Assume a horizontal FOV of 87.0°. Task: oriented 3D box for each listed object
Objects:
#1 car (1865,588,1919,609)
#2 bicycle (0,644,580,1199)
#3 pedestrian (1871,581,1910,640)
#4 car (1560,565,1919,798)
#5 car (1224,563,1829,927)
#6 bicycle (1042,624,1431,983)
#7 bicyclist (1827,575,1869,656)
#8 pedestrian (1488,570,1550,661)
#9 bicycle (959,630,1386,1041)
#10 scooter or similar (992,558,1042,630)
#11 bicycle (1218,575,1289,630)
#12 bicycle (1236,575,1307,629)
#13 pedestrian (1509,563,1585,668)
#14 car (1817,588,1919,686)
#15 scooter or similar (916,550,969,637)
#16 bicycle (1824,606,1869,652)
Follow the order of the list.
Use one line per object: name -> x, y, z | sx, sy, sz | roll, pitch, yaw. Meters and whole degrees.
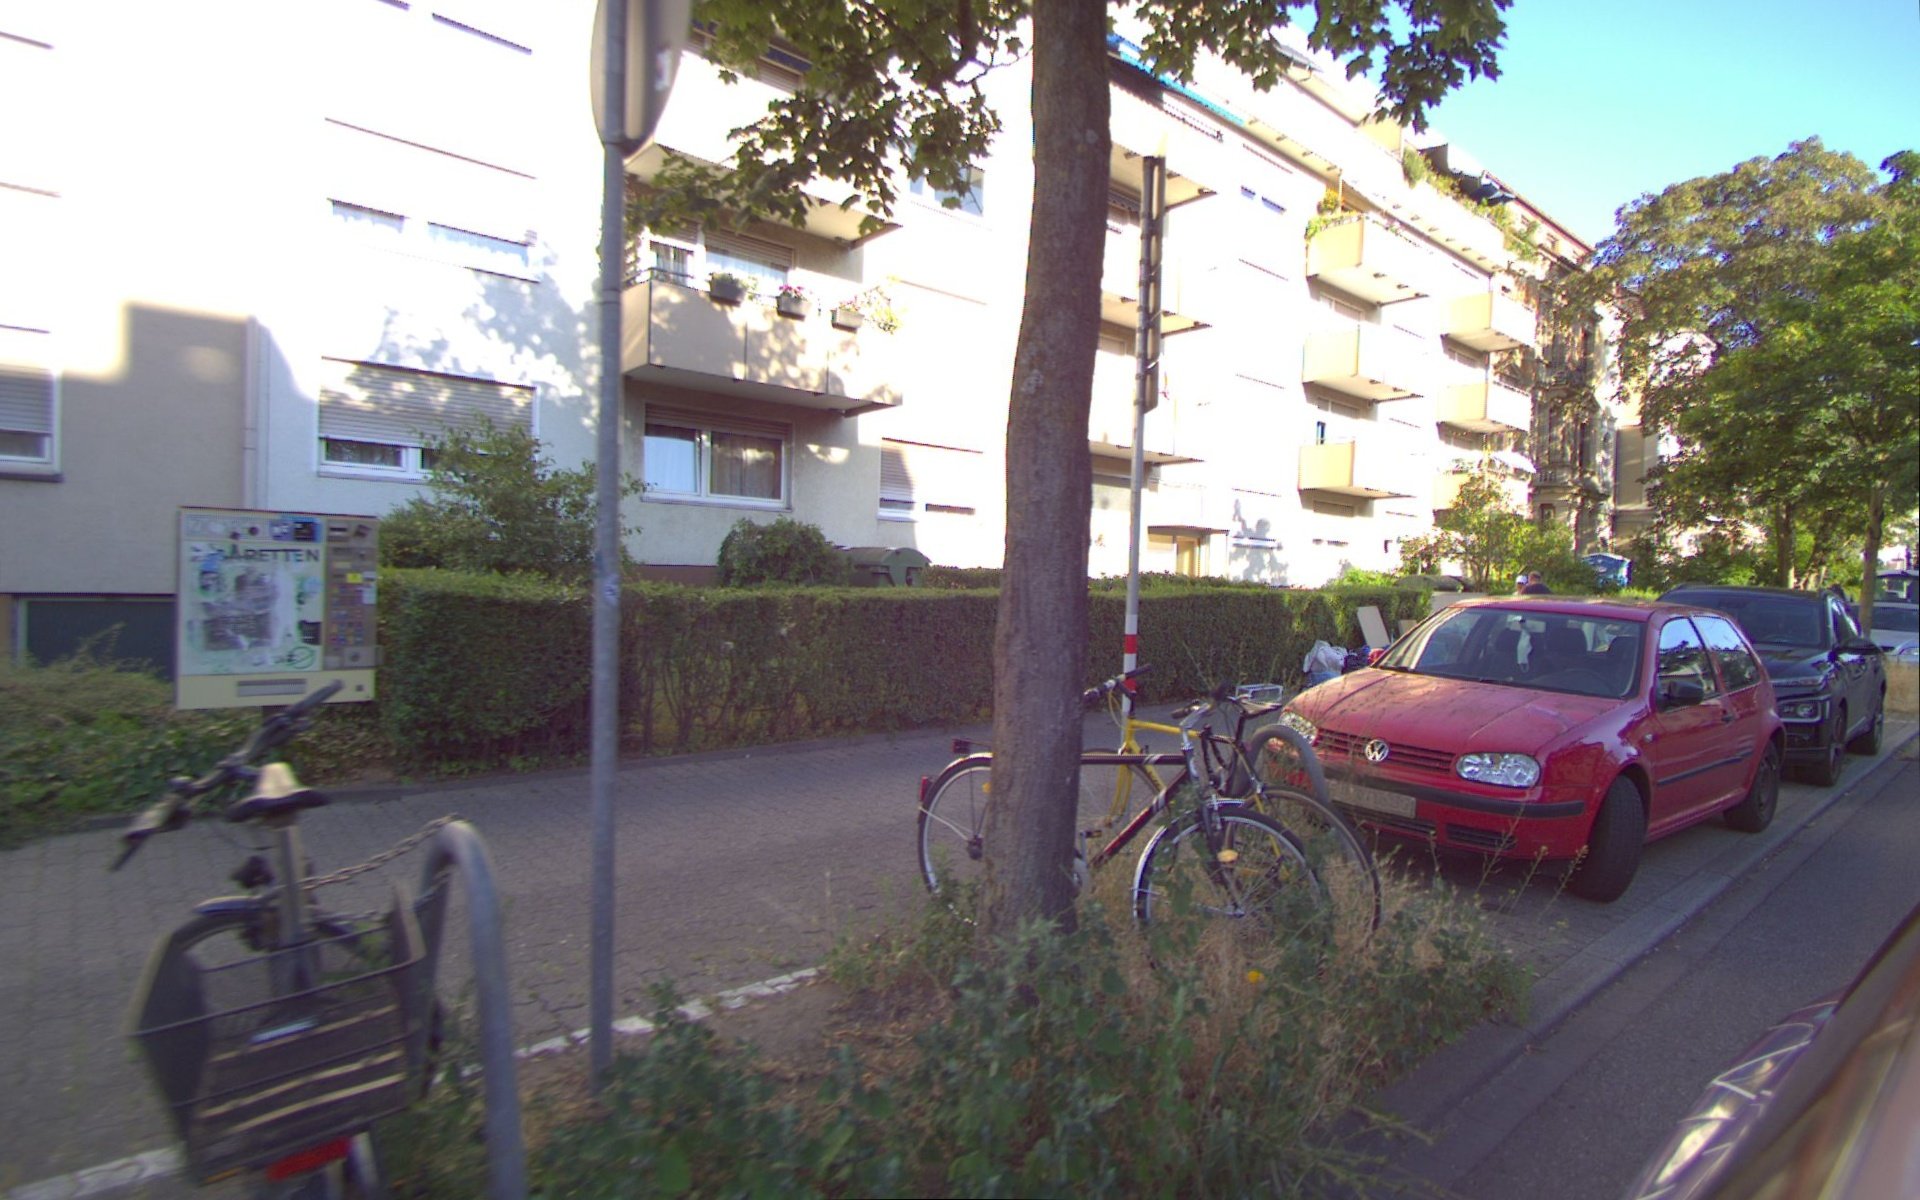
car -> 71.132, -0.114, 76.607 | 3.868, 1.523, 1.550 | 3, 2, 44
bicycle -> -1.157, 0.740, 1.776 | 0.507, 1.120, 1.694 | 1, 4, -34
pedestrian -> 29.101, 0.315, 31.663 | 0.821, 1.796, 1.072 | 2, 2, 45
car -> 7.269, 0.560, 9.297 | 3.944, 1.600, 1.859 | 0, 4, -42
car -> 3.570, 0.593, 6.119 | 3.939, 1.467, 1.709 | 0, 3, -37
bicycle -> 1.035, 0.702, 4.133 | 0.385, 1.117, 1.574 | 0, 2, -40
bicyclist -> 20.458, 0.338, 23.324 | 0.837, 1.811, 0.582 | 0, 1, -41
pedestrian -> 9.845, 0.269, 17.842 | 0.682, 1.559, 0.594 | 1, 1, -5
bicycle -> 0.695, 0.724, 3.771 | 0.492, 1.117, 1.574 | 0, 2, -40
scooter or similar -> 1.053, -0.122, 18.790 | 0.657, 1.288, 0.616 | 0, 2, -41
bicycle -> 6.643, 0.028, 23.022 | 0.507, 1.154, 2.210 | 1, 2, -12
bicycle -> 7.166, 0.027, 23.373 | 0.507, 1.154, 2.210 | 1, 2, -12
pedestrian -> 9.499, 0.237, 16.401 | 0.742, 1.660, 0.697 | 1, 1, -5
car -> 16.645, 0.595, 17.854 | 4.195, 1.498, 1.712 | 0, 4, -42
scooter or similar -> -0.303, -0.127, 17.493 | 0.657, 1.460, 0.616 | 0, 2, -41
bicycle -> 20.451, 0.657, 23.337 | 1.799, 0.999, 0.517 | 0, 2, -41
